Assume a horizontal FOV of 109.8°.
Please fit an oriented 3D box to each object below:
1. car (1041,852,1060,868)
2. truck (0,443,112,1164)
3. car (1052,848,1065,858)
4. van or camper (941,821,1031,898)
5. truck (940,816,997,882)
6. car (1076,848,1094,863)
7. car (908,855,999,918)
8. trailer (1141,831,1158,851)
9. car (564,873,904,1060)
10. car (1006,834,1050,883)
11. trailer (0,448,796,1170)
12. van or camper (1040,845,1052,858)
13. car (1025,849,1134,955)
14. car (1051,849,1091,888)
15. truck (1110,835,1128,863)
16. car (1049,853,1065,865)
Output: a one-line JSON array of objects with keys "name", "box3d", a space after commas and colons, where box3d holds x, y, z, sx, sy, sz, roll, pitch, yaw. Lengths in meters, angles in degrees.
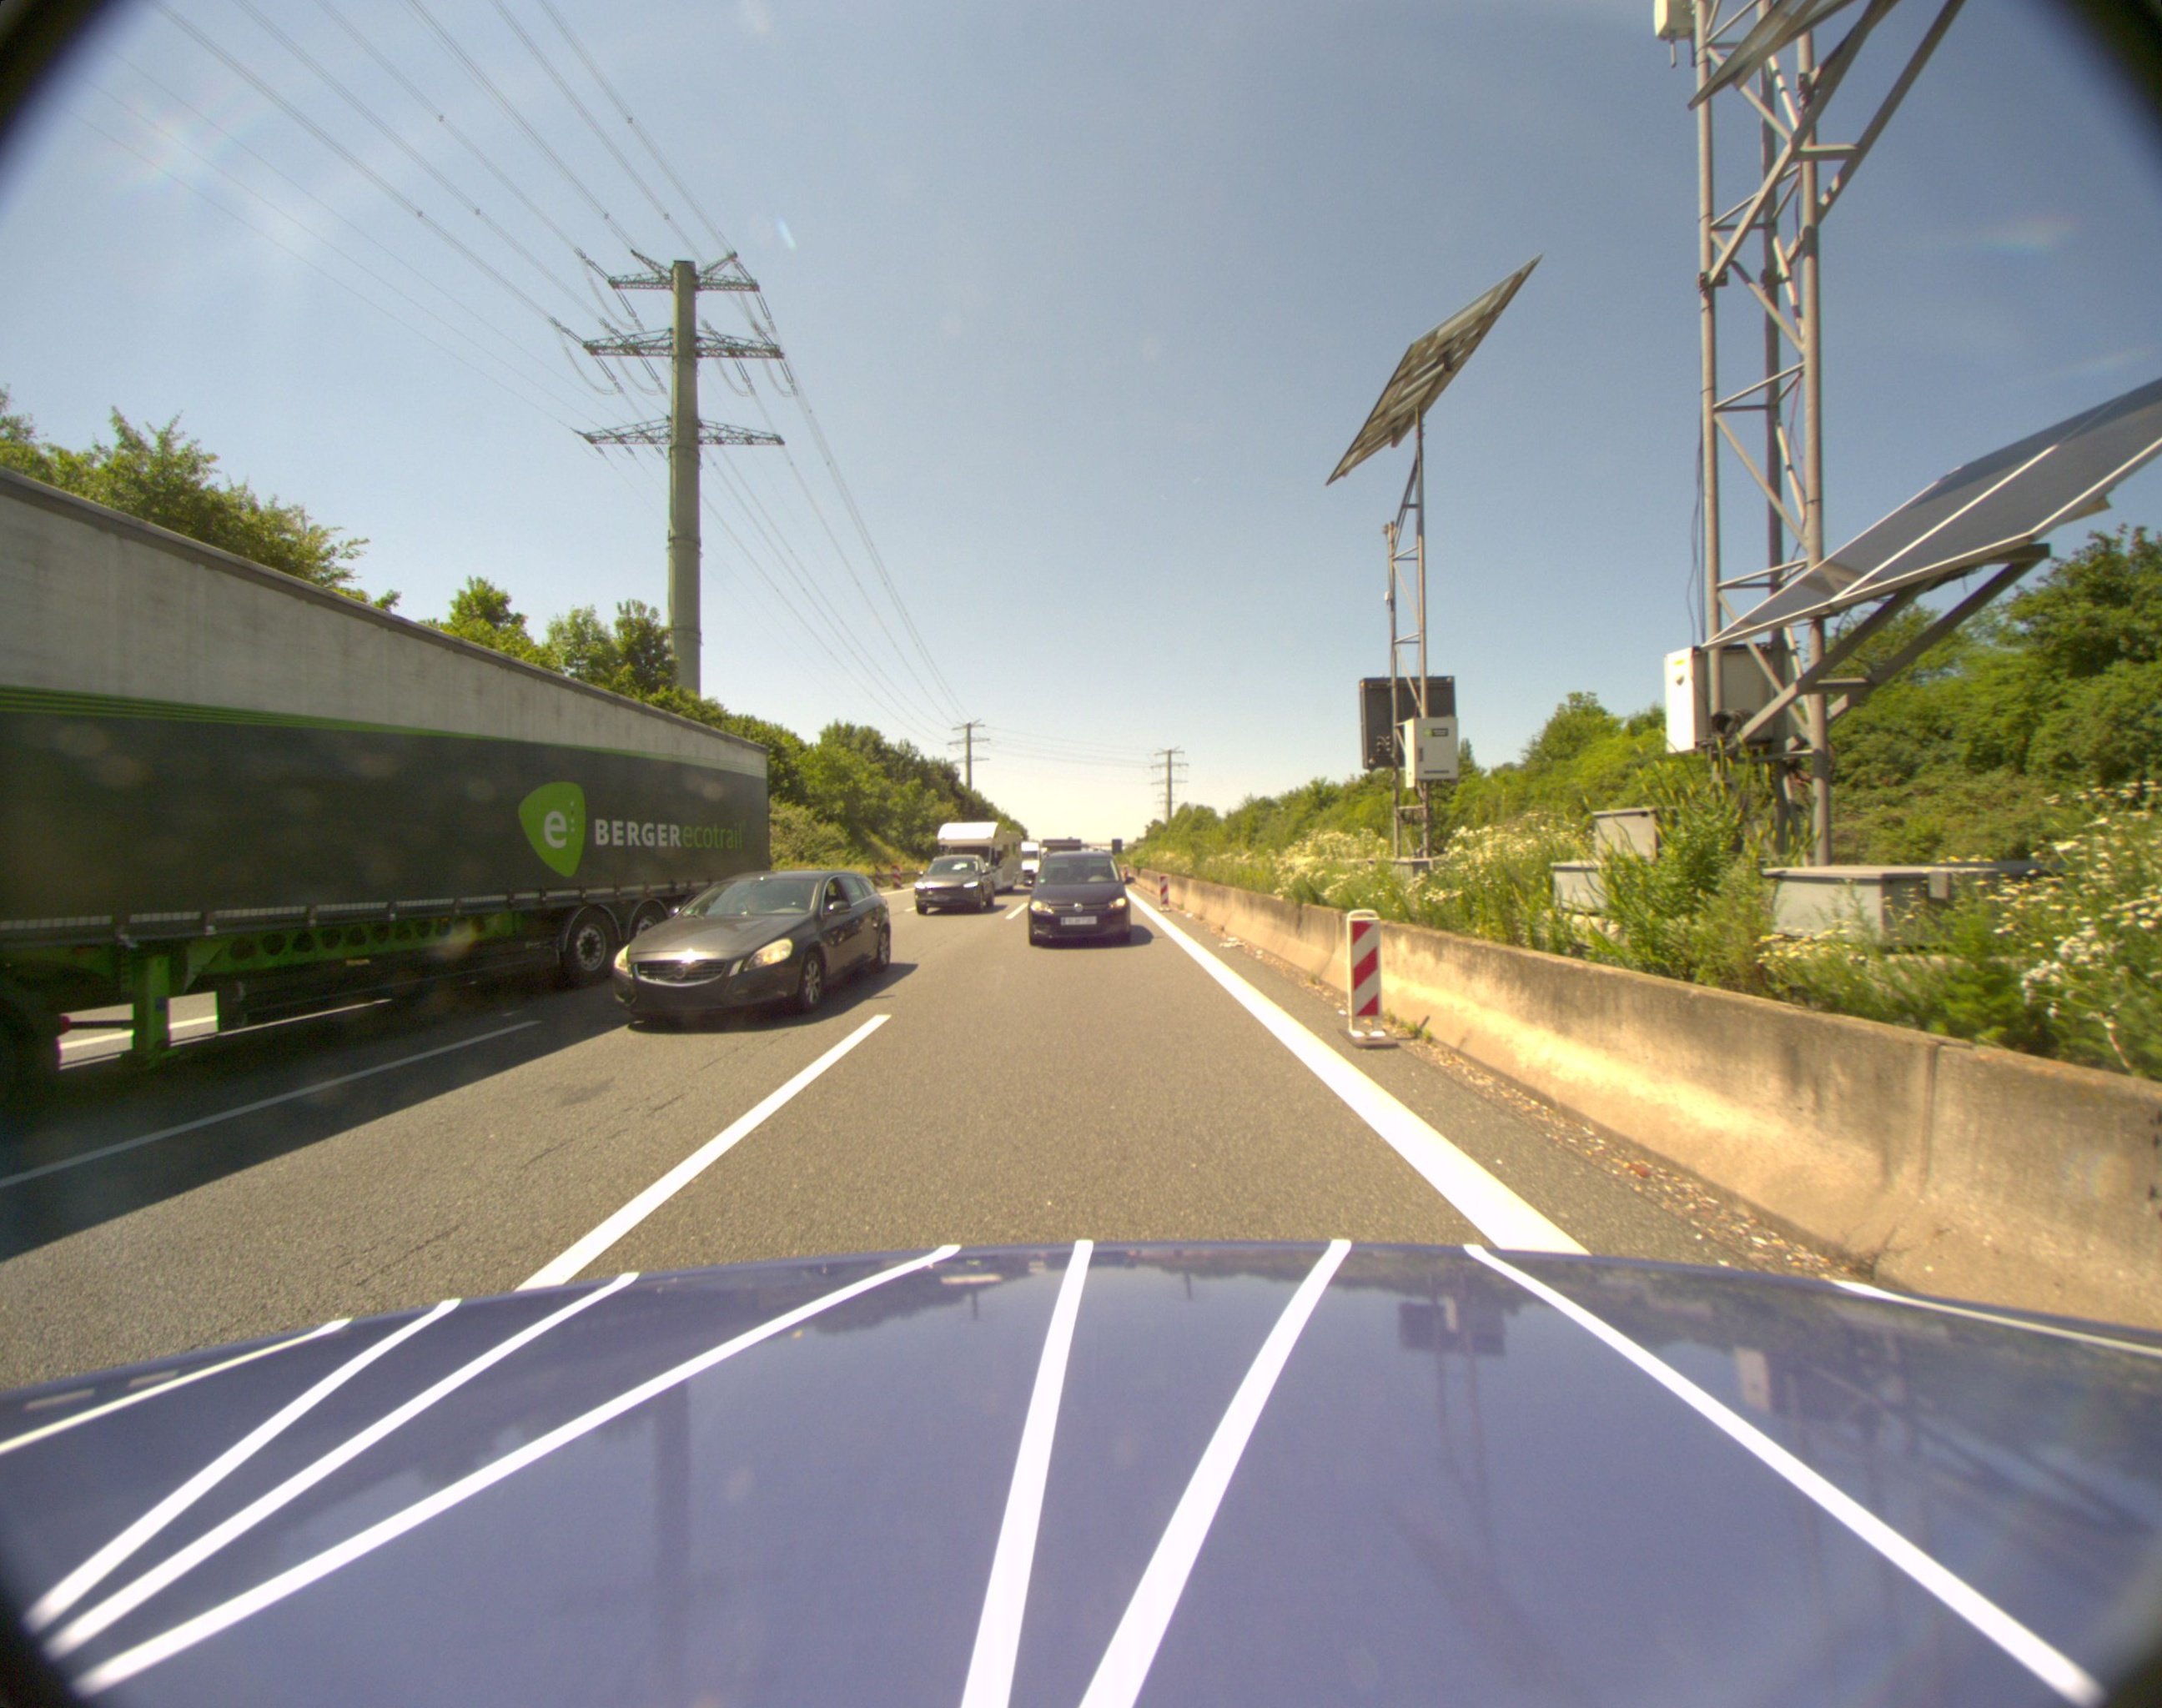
[{"name": "car", "box3d": [-3.169, 0.633, 80.532, 1.720, 1.510, 3.874, -2, 1, 1]}, {"name": "truck", "box3d": [-7.426, -0.226, 1.728, 2.740, 4.024, 5.793, -2, 1, 1]}, {"name": "car", "box3d": [-3.521, -0.119, 120.166, 1.720, 1.510, 3.874, -2, 1, 1]}, {"name": "van or camper", "box3d": [-4.102, 0.176, 34.625, 2.374, 3.026, 7.634, -2, 1, 5]}, {"name": "truck", "box3d": [-7.567, -0.346, 51.843, 2.792, 4.121, 5.636, -2, 1, 1]}, {"name": "car", "box3d": [0.517, 0.153, 91.596, 1.973, 1.682, 3.874, -2, 1, 1]}, {"name": "car", "box3d": [-3.677, 0.879, 22.703, 1.893, 1.602, 4.219, -2, 1, 1]}, {"name": "trailer", "box3d": [16.245, -2.968, 180.349, 2.967, 4.378, 12.905, -2, 1, 1]}, {"name": "car", "box3d": [-3.553, 1.039, 8.890, 1.799, 1.411, 4.509, -2, 1, 1]}, {"name": "car", "box3d": [-3.164, 0.229, 46.967, 2.042, 2.703, 6.705, -2, 1, 1]}, {"name": "trailer", "box3d": [-7.341, -0.269, 8.820, 2.790, 4.024, 13.110, -2, 1, 1]}, {"name": "van or camper", "box3d": [-7.230, -0.503, 157.900, 1.978, 2.511, 4.369, -2, 1, 1]}, {"name": "car", "box3d": [0.009, 0.768, 14.388, 1.700, 1.641, 4.219, -2, 1, 1]}, {"name": "car", "box3d": [-0.405, 0.648, 35.653, 1.700, 1.641, 4.219, -2, 1, 1]}, {"name": "truck", "box3d": [4.631, -0.608, 92.887, 1.892, 3.263, 5.590, -2, 1, 1]}, {"name": "car", "box3d": [-3.051, 0.616, 97.076, 1.720, 1.510, 3.874, -2, 1, 1]}]
